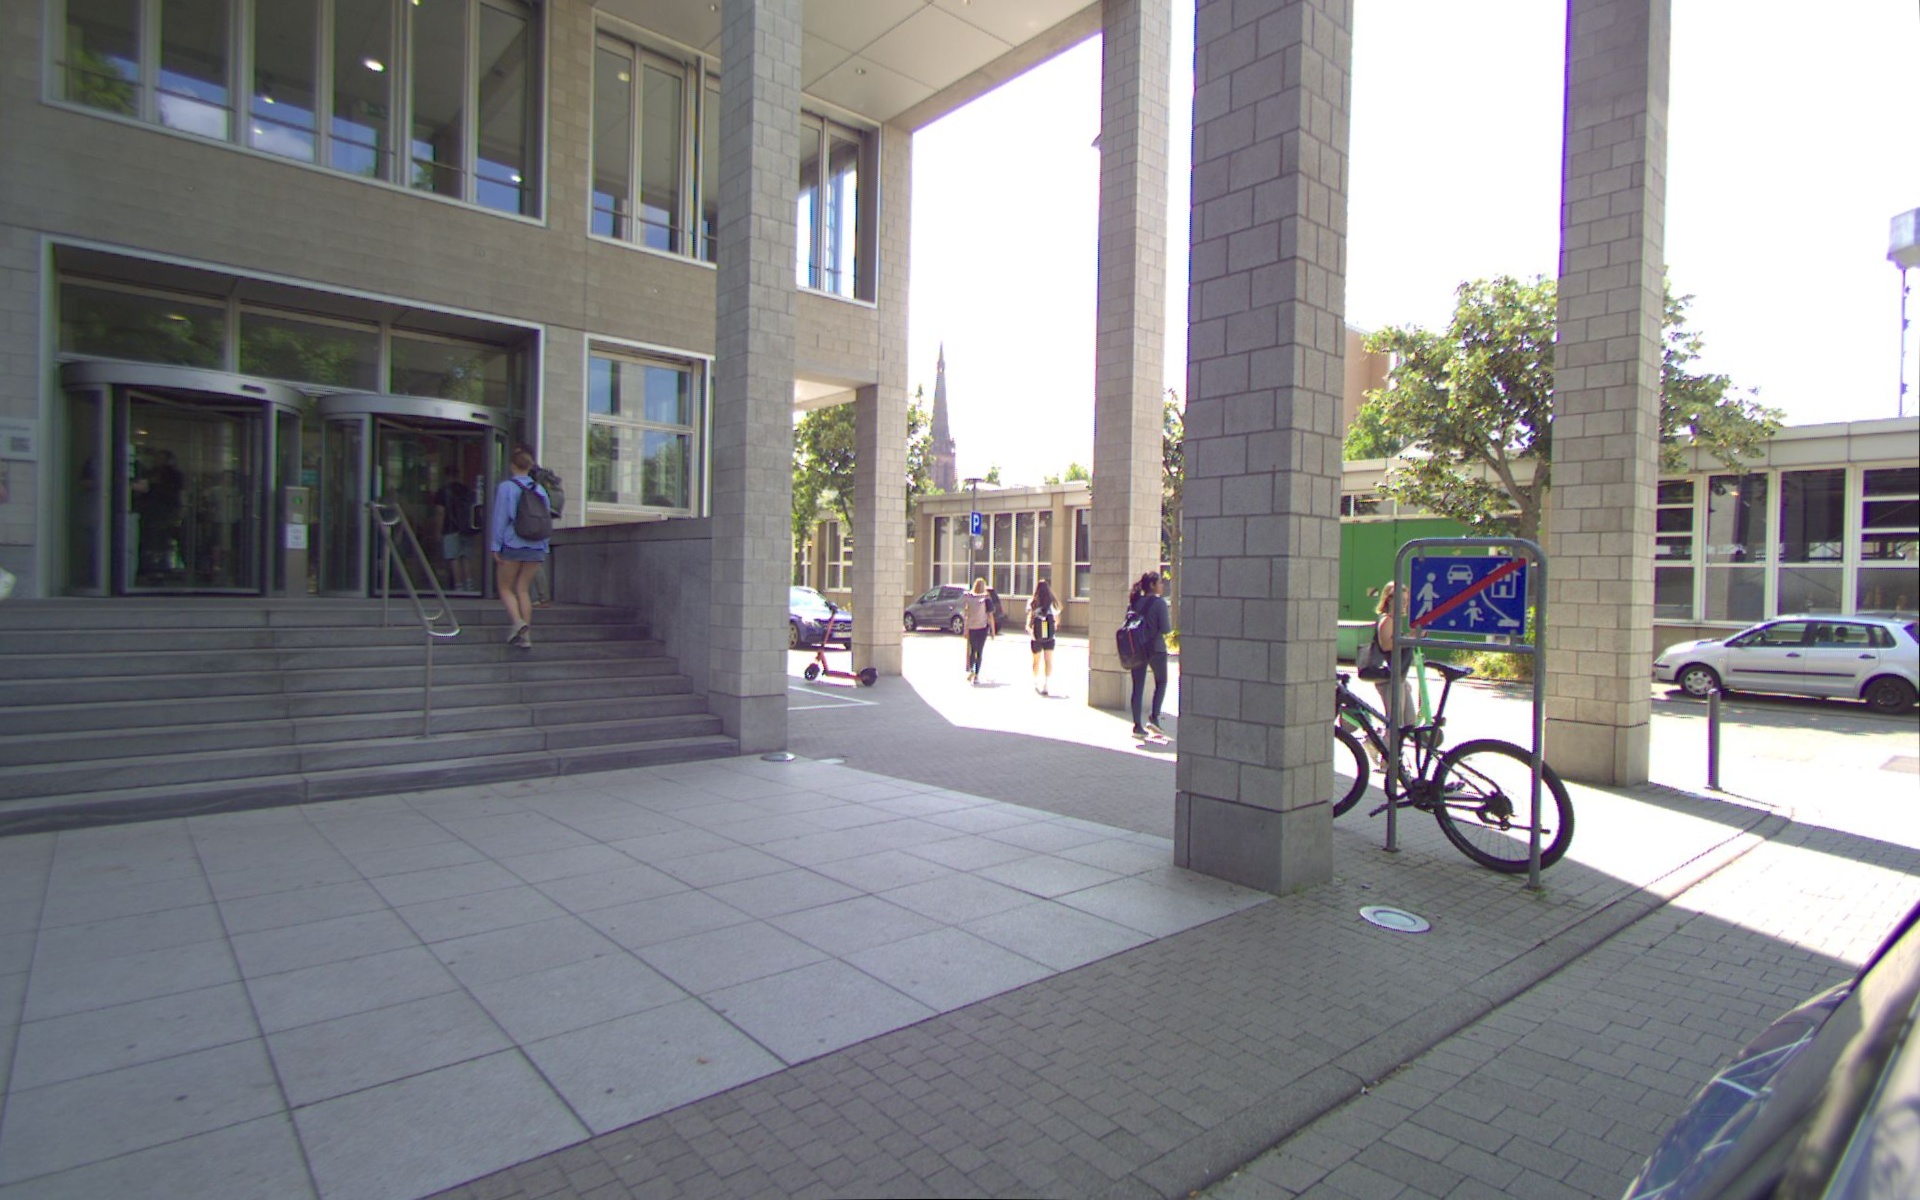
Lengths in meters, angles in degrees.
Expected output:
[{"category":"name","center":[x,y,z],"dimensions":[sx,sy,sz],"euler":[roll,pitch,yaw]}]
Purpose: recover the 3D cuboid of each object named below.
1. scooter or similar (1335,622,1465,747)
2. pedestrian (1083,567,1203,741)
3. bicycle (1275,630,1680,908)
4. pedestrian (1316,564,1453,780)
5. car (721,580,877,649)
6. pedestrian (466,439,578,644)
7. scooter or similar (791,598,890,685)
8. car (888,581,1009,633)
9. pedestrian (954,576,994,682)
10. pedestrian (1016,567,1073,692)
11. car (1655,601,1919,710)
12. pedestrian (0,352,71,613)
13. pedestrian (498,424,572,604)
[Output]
[{"category":"scooter or similar","center":[4.523,0.837,10.451],"dimensions":[0.436,1.166,1.158],"euler":[1,0,-36]},{"category":"pedestrian","center":[1.794,0.489,9.910],"dimensions":[0.816,1.594,0.868],"euler":[1,0,39]},{"category":"bicycle","center":[2.799,0.823,5.656],"dimensions":[0.595,1.178,1.882],"euler":[2,2,-45]},{"category":"pedestrian","center":[3.543,0.555,8.453],"dimensions":[0.878,1.676,0.693],"euler":[1,0,38]},{"category":"car","center":[-4.002,0.299,24.656],"dimensions":[1.820,1.494,4.127],"euler":[1,1,-41]},{"category":"pedestrian","center":[-3.979,-0.507,9.174],"dimensions":[0.633,1.746,0.864],"euler":[1,0,-44]},{"category":"scooter or similar","center":[-1.788,0.604,15.127],"dimensions":[1.408,1.239,0.357],"euler":[2,0,16]},{"category":"car","center":[-0.437,0.180,33.817],"dimensions":[1.820,1.597,4.127],"euler":[-1,2,-41]},{"category":"pedestrian","center":[0.229,0.446,16.136],"dimensions":[0.579,1.619,0.827],"euler":[1,0,1]},{"category":"pedestrian","center":[1.233,0.414,14.787],"dimensions":[0.766,1.746,0.859],"euler":[1,0,6]},{"category":"car","center":[14.012,0.836,16.831],"dimensions":[1.625,1.494,3.774],"euler":[-2,3,-40]},{"category":"pedestrian","center":[-7.093,-0.834,7.243],"dimensions":[0.689,1.826,0.884],"euler":[1,0,-6]},{"category":"pedestrian","center":[-4.524,-0.888,10.765],"dimensions":[0.578,1.826,0.685],"euler":[1,0,-33]}]
